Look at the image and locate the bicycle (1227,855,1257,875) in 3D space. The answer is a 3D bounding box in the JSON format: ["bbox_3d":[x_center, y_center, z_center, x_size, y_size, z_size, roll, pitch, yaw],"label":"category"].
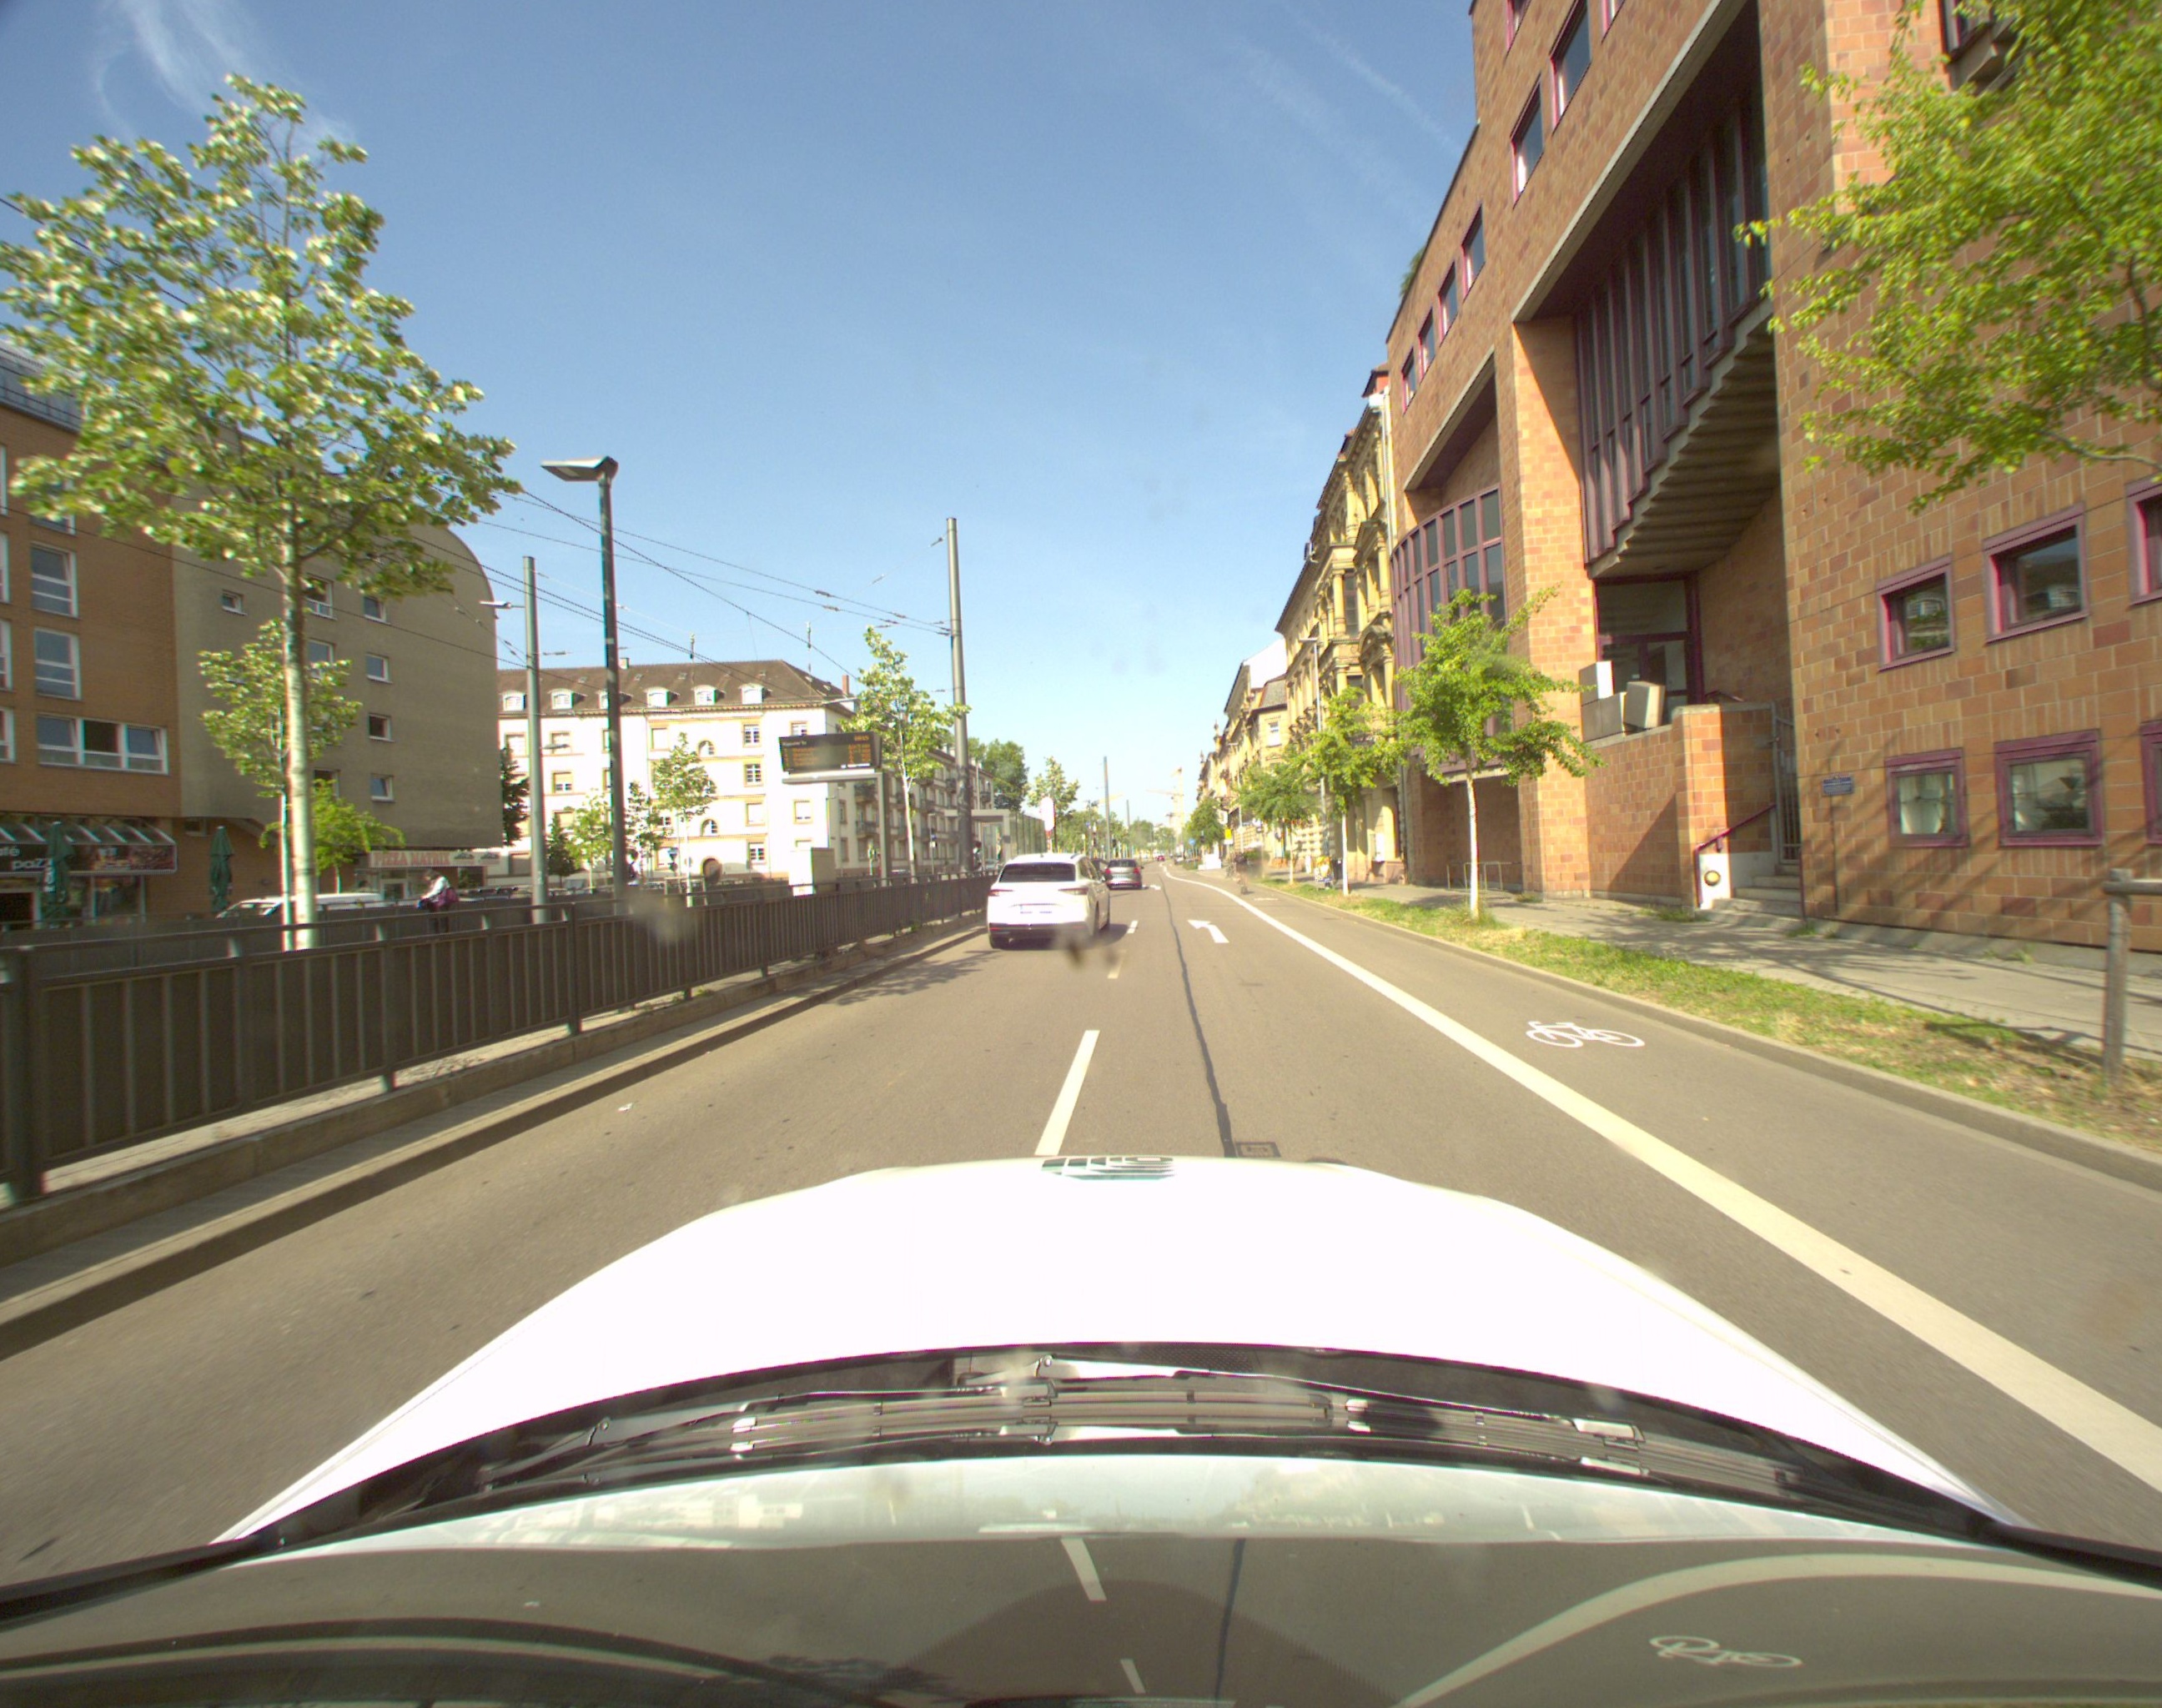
[{"bbox_3d":[10.306,0.705,52.115,1.742,1.087,0.584,-5,-1,8],"label":"bicycle"}]

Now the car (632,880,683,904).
[{"bbox_3d":[-31.801,2.806,61.273,1.667,1.532,3.925,-3,0,0],"label":"car"}]

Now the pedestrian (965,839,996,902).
[{"bbox_3d":[-3.248,0.543,26.479,0.829,2.014,1.029,0,-1,2],"label":"pedestrian"}]

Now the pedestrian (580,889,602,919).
[{"bbox_3d":[-27.644,2.817,45.964,0.805,1.583,0.678,-3,-1,-11],"label":"pedestrian"}]

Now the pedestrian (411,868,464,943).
[{"bbox_3d":[-13.783,1.088,17.455,0.679,1.530,0.805,-2,-1,-25],"label":"pedestrian"}]

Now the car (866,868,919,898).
[{"bbox_3d":[-13.025,2.007,56.531,1.983,1.805,4.642,-3,0,7],"label":"car"}]

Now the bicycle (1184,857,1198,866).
[{"bbox_3d":[14.851,0.959,110.004,1.801,1.096,0.671,-4,-1,0],"label":"bicycle"}]

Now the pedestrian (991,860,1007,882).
[{"bbox_3d":[-6.930,1.432,68.939,1.072,1.867,0.858,-2,-1,-22],"label":"pedestrian"}]

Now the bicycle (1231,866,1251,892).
[{"bbox_3d":[6.099,0.959,31.020,0.503,0.953,1.786,0,-3,3],"label":"bicycle"}]

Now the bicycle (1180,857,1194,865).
[{"bbox_3d":[14.508,0.975,111.332,1.776,1.054,0.373,-4,-1,4],"label":"bicycle"}]

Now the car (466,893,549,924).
[{"bbox_3d":[-34.740,3.284,49.464,1.985,1.508,4.003,-3,0,3],"label":"car"}]

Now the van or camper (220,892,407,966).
[{"bbox_3d":[-25.112,2.389,26.871,1.981,2.013,4.012,-3,0,10],"label":"van or camper"}]

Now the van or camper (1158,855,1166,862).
[{"bbox_3d":[20.937,1.124,211.476,1.984,1.655,4.006,-3,-1,5],"label":"van or camper"}]

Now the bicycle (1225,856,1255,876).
[{"bbox_3d":[9.929,0.736,50.886,1.744,1.087,0.670,-5,-1,10],"label":"bicycle"}]

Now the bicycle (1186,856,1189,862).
[{"bbox_3d":[20.036,1.001,153.856,0.490,1.094,1.829,-3,0,6],"label":"bicycle"}]

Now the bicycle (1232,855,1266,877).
[{"bbox_3d":[9.930,0.707,48.135,1.752,1.087,0.657,-6,-1,-4],"label":"bicycle"}]

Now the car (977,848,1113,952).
[{"bbox_3d":[-0.484,0.733,14.992,1.808,1.590,4.414,-2,0,6],"label":"car"}]

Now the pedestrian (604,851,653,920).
[{"bbox_3d":[-12.811,0.878,23.069,0.735,1.872,0.941,-3,-1,8],"label":"pedestrian"}]

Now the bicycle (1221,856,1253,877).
[{"bbox_3d":[9.470,0.779,49.427,1.760,1.087,0.668,-6,-1,-18],"label":"bicycle"}]

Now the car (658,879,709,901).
[{"bbox_3d":[-28.884,2.585,59.300,1.667,1.405,4.000,-3,0,0],"label":"car"}]

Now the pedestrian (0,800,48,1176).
[{"bbox_3d":[-5.413,0.626,3.626,0.670,1.758,0.728,0,-1,4],"label":"pedestrian"}]

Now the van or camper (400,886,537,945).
[{"bbox_3d":[-23.982,2.354,32.100,1.918,1.968,4.011,-3,0,10],"label":"van or camper"}]

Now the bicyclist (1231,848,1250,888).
[{"bbox_3d":[6.069,0.539,30.992,0.581,1.482,0.932,0,-3,3],"label":"bicyclist"}]

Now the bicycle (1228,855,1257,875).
[{"bbox_3d":[10.446,0.712,52.707,1.742,1.087,0.584,-5,-1,8],"label":"bicycle"}]

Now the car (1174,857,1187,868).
[{"bbox_3d":[16.187,1.326,132.720,1.762,1.588,4.250,-4,0,2],"label":"car"}]

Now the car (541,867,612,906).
[{"bbox_3d":[-36.577,2.322,59.244,1.988,2.583,5.050,-3,0,-1],"label":"car"}]

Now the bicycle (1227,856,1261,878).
[{"bbox_3d":[9.320,0.754,46.614,1.752,1.087,0.610,-6,-1,-4],"label":"bicycle"}]

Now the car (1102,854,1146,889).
[{"bbox_3d":[2.029,0.777,37.496,1.745,1.484,4.414,-2,0,6],"label":"car"}]
